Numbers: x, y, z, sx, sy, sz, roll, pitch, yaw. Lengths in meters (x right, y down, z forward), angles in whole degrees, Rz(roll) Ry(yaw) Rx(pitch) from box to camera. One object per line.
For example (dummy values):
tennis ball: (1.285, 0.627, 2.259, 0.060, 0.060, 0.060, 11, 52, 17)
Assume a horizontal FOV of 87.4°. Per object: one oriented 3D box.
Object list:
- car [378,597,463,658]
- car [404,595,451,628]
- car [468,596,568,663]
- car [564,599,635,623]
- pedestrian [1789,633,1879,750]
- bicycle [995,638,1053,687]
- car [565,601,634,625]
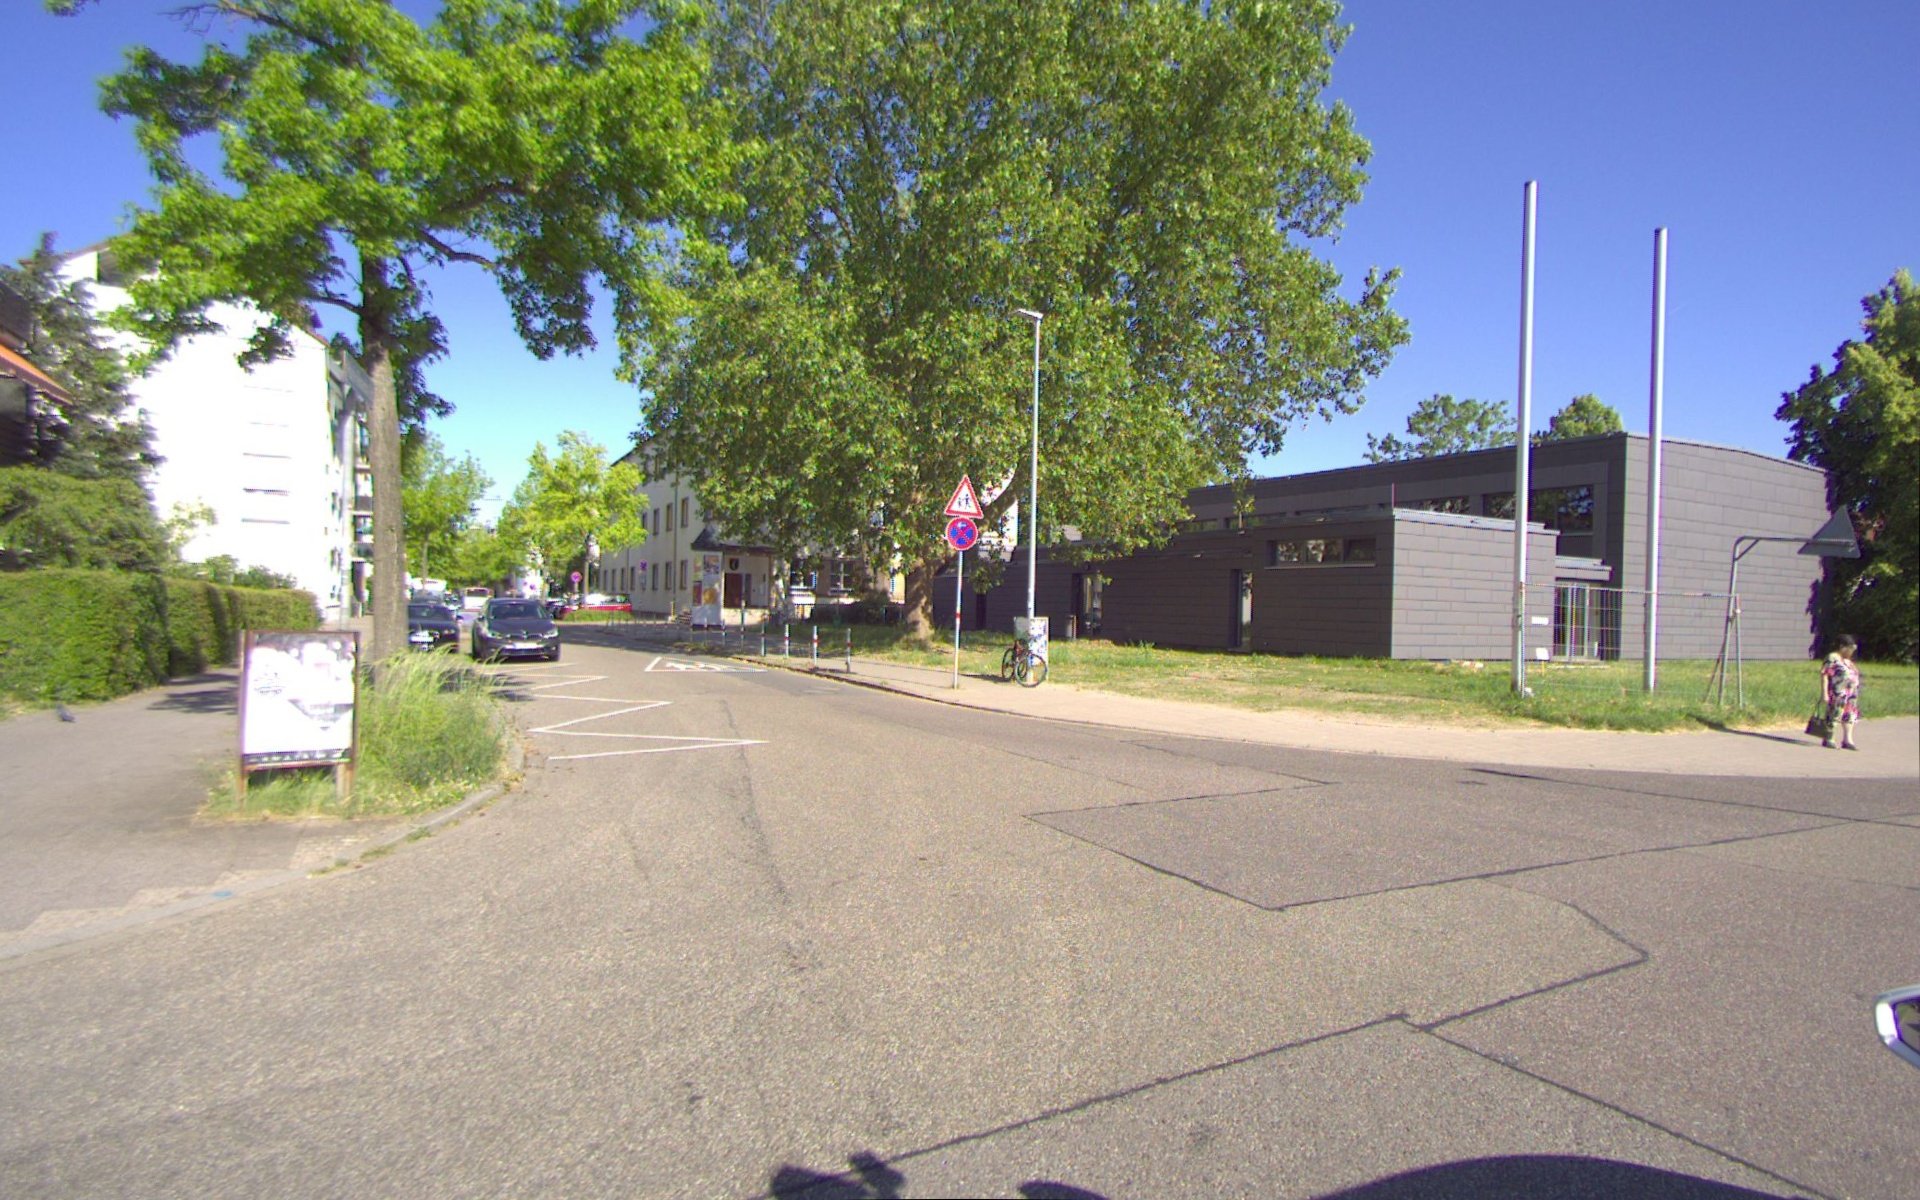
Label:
car: (-14.985, 0.722, 27.807, 1.934, 1.568, 3.699, 0, -1, -30)
car: (-26.514, 0.568, 49.988, 1.934, 1.568, 3.699, 0, -1, -30)
car: (-11.322, 0.718, 25.593, 1.934, 1.568, 3.699, 0, -1, -30)
car: (-23.941, 0.736, 66.751, 4.395, 1.568, 1.946, 0, 1, -23)
pedestrian: (11.628, 1.208, 13.378, 0.626, 1.465, 0.511, 3, 3, 5)
bicycle: (1.210, 1.176, 18.980, 0.999, 0.899, 0.440, 0, 0, 18)
car: (-24.850, 0.872, 69.170, 4.395, 1.568, 1.946, 0, 1, -23)
